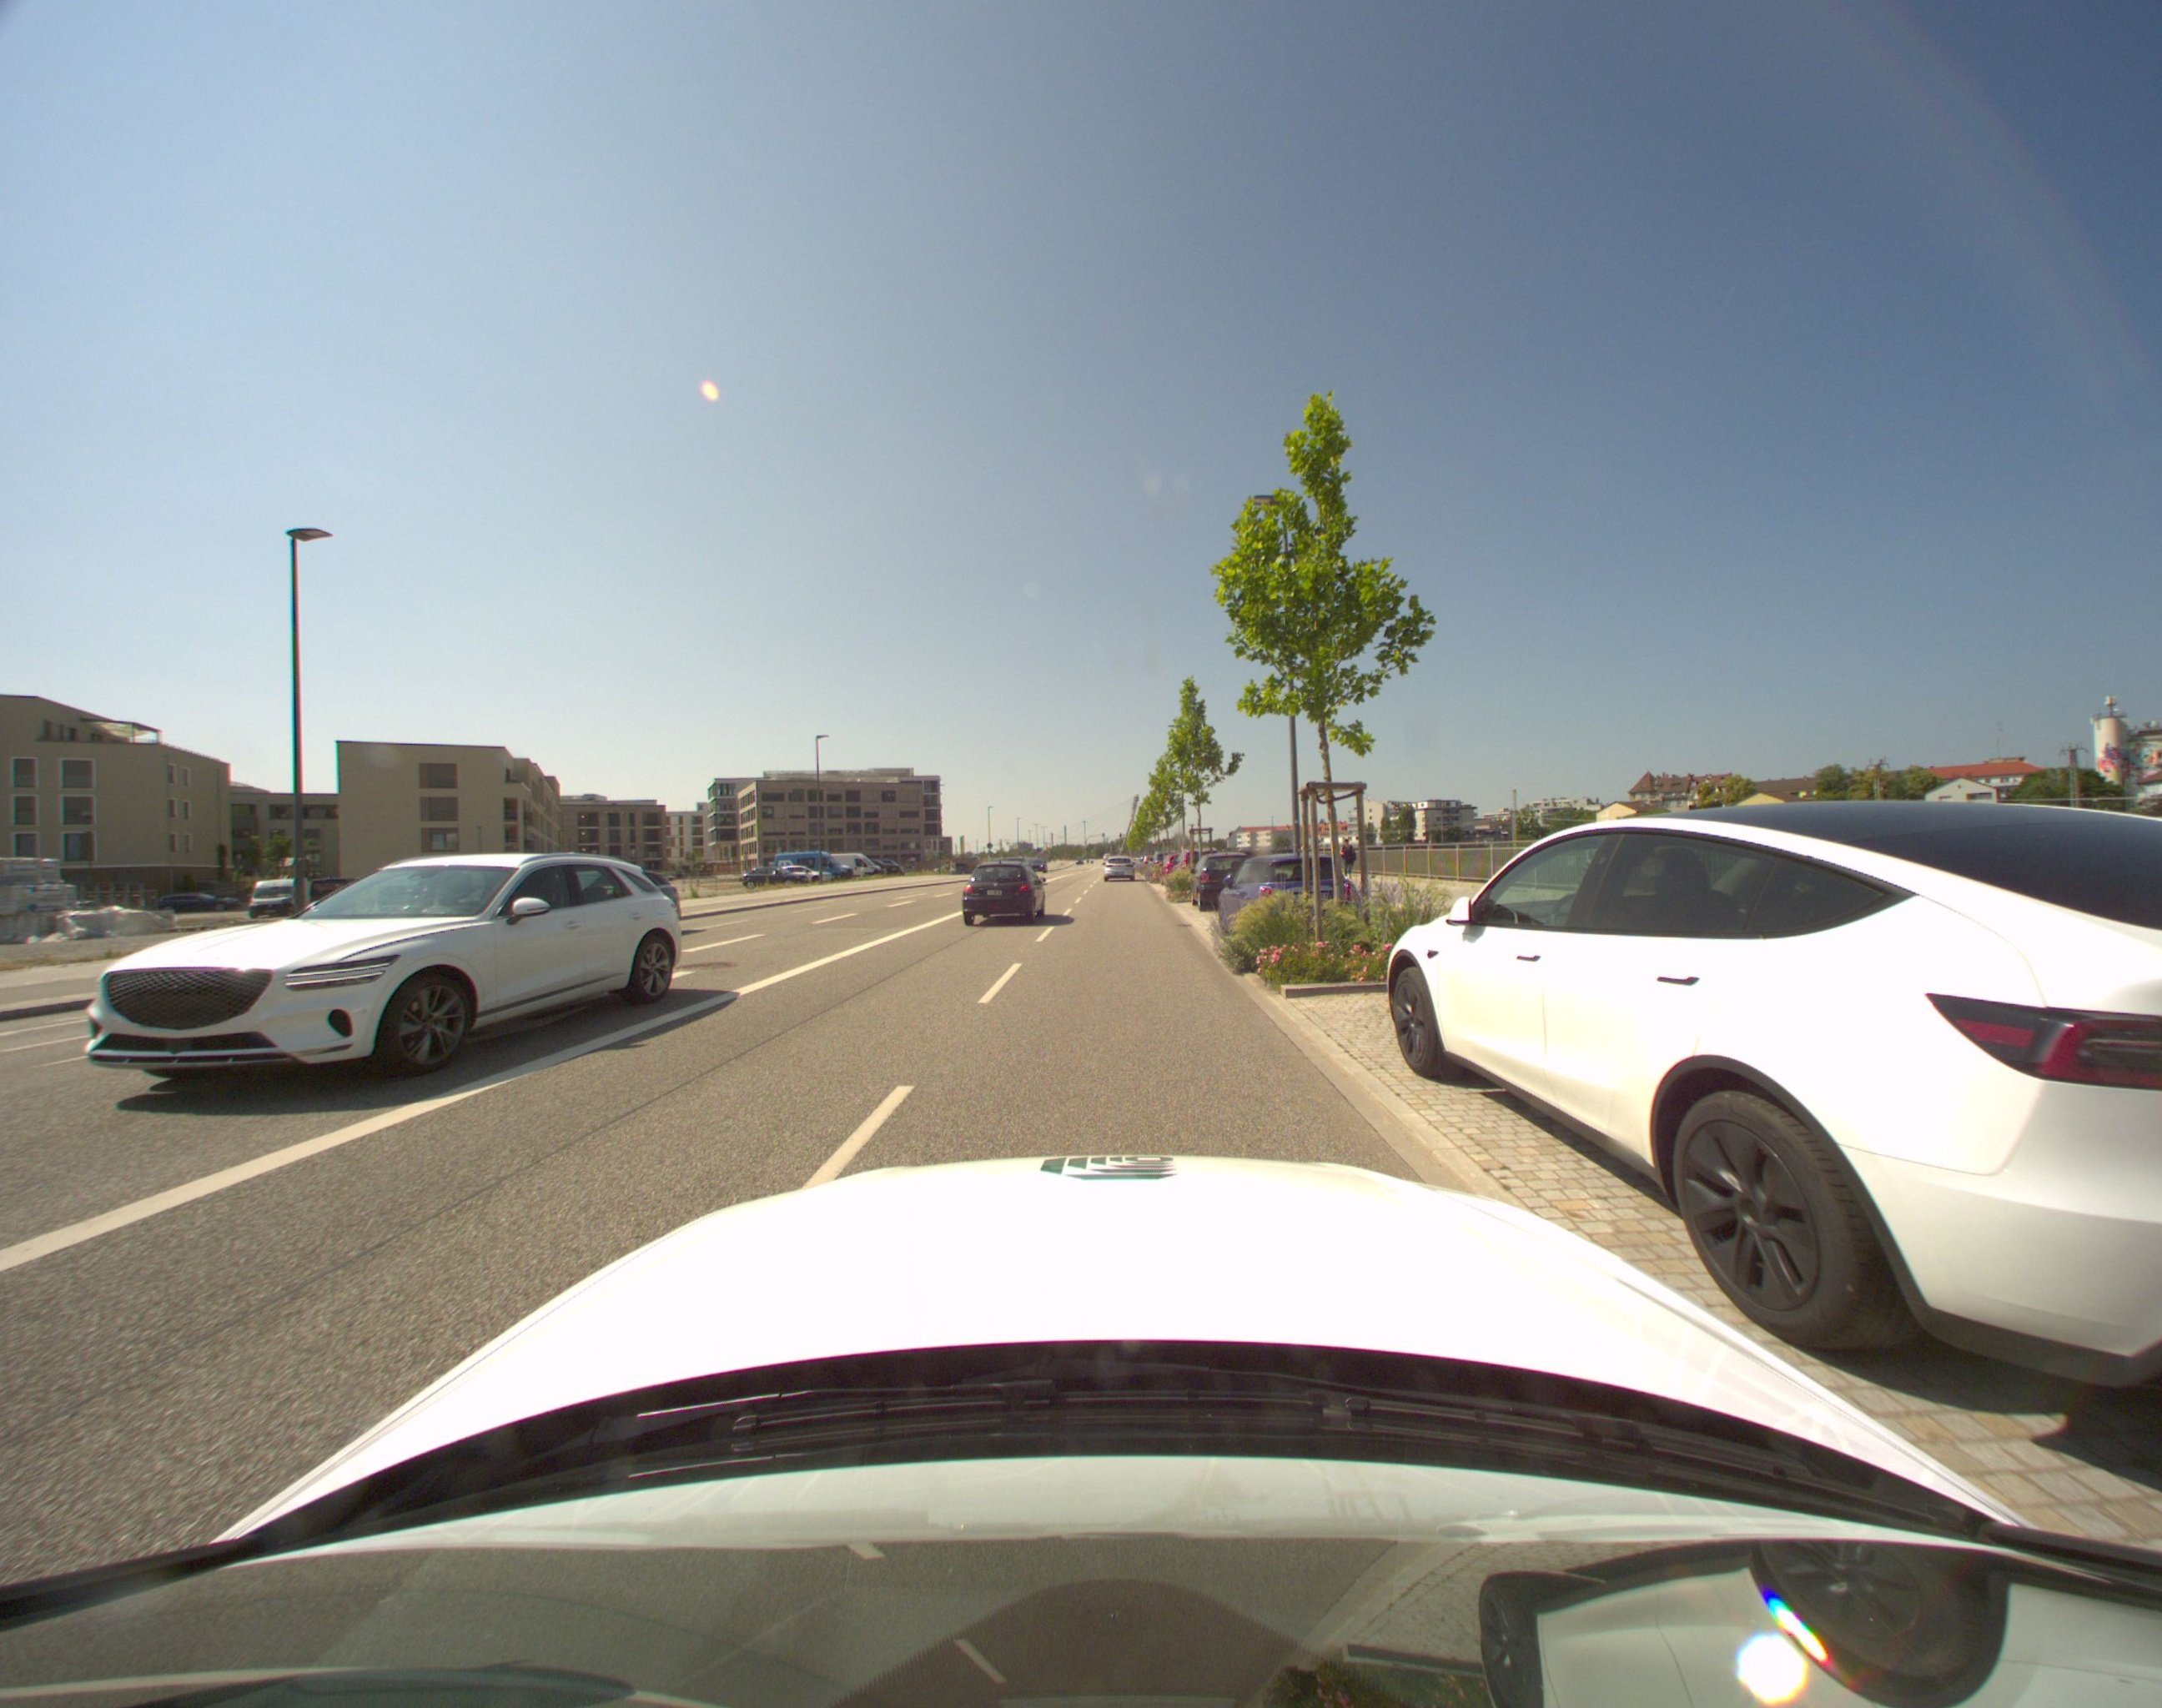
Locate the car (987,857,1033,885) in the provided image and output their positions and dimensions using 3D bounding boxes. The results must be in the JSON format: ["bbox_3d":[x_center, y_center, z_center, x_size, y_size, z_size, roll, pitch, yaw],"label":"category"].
[{"bbox_3d":[-3.732,0.859,43.489,1.779,1.398,4.576,0,0,4],"label":"car"}]

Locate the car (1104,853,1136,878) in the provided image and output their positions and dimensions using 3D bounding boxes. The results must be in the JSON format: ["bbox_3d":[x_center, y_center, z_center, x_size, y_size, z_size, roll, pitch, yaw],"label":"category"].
[{"bbox_3d":[2.339,0.672,48.063,1.770,1.442,4.005,0,0,4],"label":"car"}]

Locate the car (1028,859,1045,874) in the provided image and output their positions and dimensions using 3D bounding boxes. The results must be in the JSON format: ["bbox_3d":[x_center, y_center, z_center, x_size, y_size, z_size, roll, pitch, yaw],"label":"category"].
[{"bbox_3d":[-4.687,1.368,86.214,1.575,1.563,3.671,0,-2,-1],"label":"car"}]

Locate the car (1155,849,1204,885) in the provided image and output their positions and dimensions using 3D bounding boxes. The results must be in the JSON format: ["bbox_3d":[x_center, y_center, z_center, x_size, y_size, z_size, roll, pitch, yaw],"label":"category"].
[{"bbox_3d":[4.550,0.586,38.046,1.599,1.491,3.815,-3,0,-2],"label":"car"}]

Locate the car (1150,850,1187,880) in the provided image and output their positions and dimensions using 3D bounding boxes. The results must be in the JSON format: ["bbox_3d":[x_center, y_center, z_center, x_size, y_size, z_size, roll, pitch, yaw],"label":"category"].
[{"bbox_3d":[5.040,0.615,47.243,1.728,1.608,4.242,-3,0,1],"label":"car"}]

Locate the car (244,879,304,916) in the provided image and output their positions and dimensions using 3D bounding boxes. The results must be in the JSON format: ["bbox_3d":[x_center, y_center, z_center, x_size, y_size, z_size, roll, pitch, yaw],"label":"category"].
[{"bbox_3d":[-53.196,2.803,53.775,2.007,2.241,3.959,-1,0,-33],"label":"car"}]

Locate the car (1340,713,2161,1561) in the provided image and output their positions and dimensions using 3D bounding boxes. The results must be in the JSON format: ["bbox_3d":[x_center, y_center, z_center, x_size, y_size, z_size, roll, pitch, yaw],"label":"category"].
[{"bbox_3d":[2.933,0.527,3.998,1.865,1.627,4.878,-2,0,2],"label":"car"}]

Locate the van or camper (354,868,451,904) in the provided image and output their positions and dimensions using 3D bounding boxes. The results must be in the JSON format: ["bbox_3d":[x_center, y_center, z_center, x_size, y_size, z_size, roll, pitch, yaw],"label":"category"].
[{"bbox_3d":[-55.288,2.561,66.494,5.958,2.559,1.913,-2,-1,-38],"label":"van or camper"}]

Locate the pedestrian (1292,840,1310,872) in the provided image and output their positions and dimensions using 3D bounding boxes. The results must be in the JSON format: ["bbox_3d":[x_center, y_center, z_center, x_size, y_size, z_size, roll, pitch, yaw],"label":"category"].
[{"bbox_3d":[11.717,0.109,43.365,0.777,1.705,0.742,0,-1,3],"label":"pedestrian"}]

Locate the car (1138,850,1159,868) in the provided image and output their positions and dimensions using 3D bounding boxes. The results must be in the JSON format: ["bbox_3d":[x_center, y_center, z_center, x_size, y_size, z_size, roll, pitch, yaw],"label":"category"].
[{"bbox_3d":[6.646,0.492,80.059,1.899,1.577,4.164,-2,-1,6],"label":"car"}]

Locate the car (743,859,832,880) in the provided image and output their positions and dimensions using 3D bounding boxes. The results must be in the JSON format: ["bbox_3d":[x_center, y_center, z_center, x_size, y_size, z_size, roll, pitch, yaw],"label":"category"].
[{"bbox_3d":[-21.190,1.127,58.870,5.632,1.474,2.107,0,-1,0],"label":"car"}]

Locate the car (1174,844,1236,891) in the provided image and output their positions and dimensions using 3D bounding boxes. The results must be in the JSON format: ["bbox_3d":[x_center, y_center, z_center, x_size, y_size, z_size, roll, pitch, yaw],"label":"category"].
[{"bbox_3d":[4.615,0.461,30.892,1.900,1.616,4.553,-2,0,4],"label":"car"}]

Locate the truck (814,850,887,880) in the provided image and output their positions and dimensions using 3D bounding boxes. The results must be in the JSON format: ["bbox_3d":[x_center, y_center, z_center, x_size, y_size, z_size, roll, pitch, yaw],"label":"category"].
[{"bbox_3d":[-19.833,0.949,70.175,5.547,2.362,2.275,-2,-1,1],"label":"truck"}]

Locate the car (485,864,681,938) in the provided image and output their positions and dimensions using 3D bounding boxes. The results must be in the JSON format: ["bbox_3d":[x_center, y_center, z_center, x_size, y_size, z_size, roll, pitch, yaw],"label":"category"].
[{"bbox_3d":[-10.514,0.960,17.546,1.886,1.415,3.600,0,-2,2],"label":"car"}]

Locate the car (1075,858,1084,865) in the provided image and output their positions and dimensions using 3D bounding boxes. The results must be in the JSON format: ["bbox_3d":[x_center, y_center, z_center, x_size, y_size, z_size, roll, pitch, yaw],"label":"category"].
[{"bbox_3d":[-0.373,1.633,179.108,1.697,1.352,4.459,-2,-1,3],"label":"car"}]

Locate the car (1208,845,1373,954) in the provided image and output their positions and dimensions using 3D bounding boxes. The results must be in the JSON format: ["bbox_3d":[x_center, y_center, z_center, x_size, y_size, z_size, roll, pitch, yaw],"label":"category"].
[{"bbox_3d":[3.319,0.644,13.733,1.900,1.479,4.162,-3,0,4],"label":"car"}]

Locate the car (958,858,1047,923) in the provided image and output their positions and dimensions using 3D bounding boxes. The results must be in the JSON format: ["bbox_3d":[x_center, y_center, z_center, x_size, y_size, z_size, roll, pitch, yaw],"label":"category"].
[{"bbox_3d":[-1.804,0.815,19.791,1.612,1.416,3.730,0,0,3],"label":"car"}]

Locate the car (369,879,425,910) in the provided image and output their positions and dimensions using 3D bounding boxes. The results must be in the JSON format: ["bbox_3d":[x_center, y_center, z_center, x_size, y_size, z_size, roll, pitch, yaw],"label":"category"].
[{"bbox_3d":[-46.249,2.699,55.154,2.004,1.849,3.965,-1,0,-27],"label":"car"}]

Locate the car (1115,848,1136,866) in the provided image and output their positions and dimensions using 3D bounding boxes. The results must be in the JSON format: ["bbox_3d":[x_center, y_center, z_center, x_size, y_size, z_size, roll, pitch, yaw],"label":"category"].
[{"bbox_3d":[4.117,0.273,75.049,1.770,1.569,4.004,0,-2,4],"label":"car"}]

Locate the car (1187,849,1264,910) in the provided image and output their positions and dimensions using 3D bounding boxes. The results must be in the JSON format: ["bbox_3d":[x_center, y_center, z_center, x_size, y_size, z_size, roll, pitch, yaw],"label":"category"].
[{"bbox_3d":[3.871,0.633,22.338,1.613,1.479,3.828,-2,0,4],"label":"car"}]

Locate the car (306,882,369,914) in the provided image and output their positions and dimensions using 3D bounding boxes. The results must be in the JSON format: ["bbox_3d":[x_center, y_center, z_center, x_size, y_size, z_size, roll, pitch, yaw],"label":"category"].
[{"bbox_3d":[-49.082,2.874,53.859,2.004,1.849,3.965,-1,0,-27],"label":"car"}]

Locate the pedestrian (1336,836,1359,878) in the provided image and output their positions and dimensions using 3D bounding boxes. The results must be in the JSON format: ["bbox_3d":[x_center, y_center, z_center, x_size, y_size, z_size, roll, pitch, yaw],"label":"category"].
[{"bbox_3d":[10.995,0.137,33.652,0.729,1.705,0.651,0,-2,3],"label":"pedestrian"}]

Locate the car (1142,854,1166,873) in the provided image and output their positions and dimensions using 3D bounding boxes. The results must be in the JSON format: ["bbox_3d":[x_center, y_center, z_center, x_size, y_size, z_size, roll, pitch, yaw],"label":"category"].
[{"bbox_3d":[5.953,0.750,66.677,1.711,1.451,4.003,0,1,2],"label":"car"}]

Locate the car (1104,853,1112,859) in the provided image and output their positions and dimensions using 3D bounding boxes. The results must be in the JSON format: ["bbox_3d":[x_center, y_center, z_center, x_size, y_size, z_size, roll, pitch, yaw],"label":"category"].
[{"bbox_3d":[6.993,0.594,211.699,1.847,1.649,4.002,0,0,2],"label":"car"}]

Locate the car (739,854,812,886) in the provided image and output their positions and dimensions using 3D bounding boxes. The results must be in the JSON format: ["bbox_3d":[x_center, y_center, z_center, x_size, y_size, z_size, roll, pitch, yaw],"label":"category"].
[{"bbox_3d":[-19.772,1.007,52.790,3.963,1.904,1.832,-2,-1,9],"label":"car"}]

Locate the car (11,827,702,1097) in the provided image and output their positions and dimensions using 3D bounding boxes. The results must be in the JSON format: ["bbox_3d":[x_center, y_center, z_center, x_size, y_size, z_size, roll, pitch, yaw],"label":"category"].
[{"bbox_3d":[-5.627,0.690,7.431,1.905,1.650,4.734,-1,0,3],"label":"car"}]

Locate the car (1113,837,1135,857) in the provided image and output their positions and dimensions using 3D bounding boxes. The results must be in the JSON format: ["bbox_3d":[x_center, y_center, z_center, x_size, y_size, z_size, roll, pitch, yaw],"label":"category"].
[{"bbox_3d":[4.003,-0.655,76.489,1.787,1.750,3.998,0,-2,0],"label":"car"}]

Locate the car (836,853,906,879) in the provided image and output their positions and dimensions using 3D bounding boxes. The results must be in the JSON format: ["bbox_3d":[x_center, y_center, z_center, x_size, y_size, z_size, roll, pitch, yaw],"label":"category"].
[{"bbox_3d":[-19.728,1.102,76.763,5.864,2.165,2.395,-2,0,0],"label":"car"}]

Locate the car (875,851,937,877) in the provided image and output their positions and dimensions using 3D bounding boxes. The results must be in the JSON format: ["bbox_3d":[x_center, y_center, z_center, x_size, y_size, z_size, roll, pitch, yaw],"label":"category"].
[{"bbox_3d":[-16.825,0.965,78.440,5.427,2.173,2.394,-2,0,-1],"label":"car"}]

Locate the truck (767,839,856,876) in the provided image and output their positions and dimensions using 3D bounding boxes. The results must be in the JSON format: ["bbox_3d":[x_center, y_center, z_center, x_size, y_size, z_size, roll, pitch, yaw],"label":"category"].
[{"bbox_3d":[-20.737,0.267,62.928,5.986,2.543,2.274,-2,-1,-1],"label":"truck"}]
